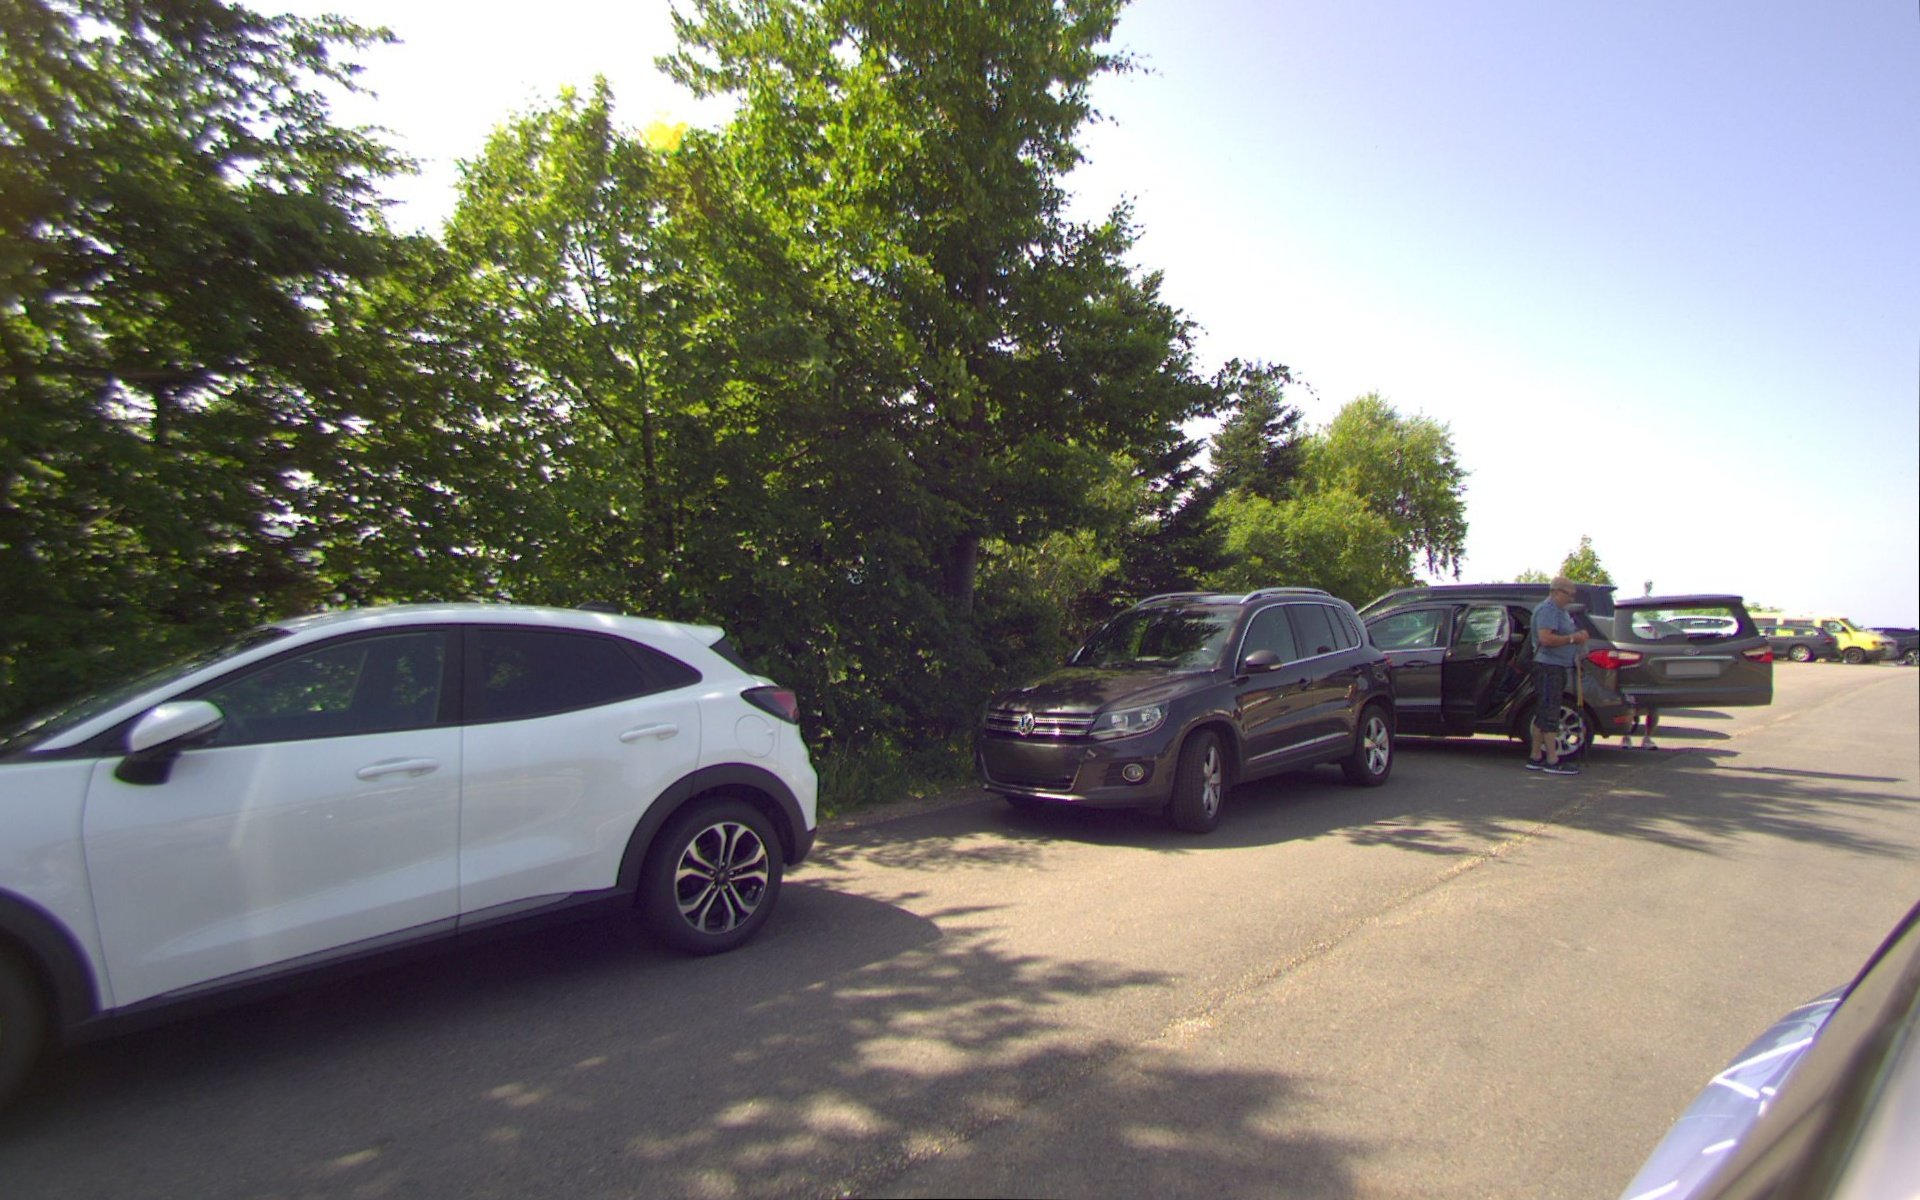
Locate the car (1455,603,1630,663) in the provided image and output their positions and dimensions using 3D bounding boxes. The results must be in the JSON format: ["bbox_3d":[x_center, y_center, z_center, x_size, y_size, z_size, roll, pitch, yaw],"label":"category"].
[{"bbox_3d":[16.457,0.903,28.794,3.943,1.569,1.811,1,-1,16],"label":"car"}]

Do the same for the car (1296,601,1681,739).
[{"bbox_3d":[6.261,0.770,12.520,3.951,1.461,1.827,0,-1,21],"label":"car"}]

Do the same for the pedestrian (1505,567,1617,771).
[{"bbox_3d":[5.440,0.609,9.186,0.620,1.783,0.581,0,-1,-7],"label":"pedestrian"}]

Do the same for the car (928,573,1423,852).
[{"bbox_3d":[1.912,0.694,8.092,4.236,1.653,1.745,0,-2,-43],"label":"car"}]

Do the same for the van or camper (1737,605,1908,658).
[{"bbox_3d":[35.456,1.268,41.747,1.847,2.040,5.103,3,-2,-37],"label":"van or camper"}]

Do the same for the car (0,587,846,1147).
[{"bbox_3d":[-2.560,0.755,4.065,3.983,1.537,1.680,0,-2,-44],"label":"car"}]

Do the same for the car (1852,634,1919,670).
[{"bbox_3d":[44.586,2.493,47.466,3.981,1.529,1.816,3,-1,39],"label":"car"}]

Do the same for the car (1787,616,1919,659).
[{"bbox_3d":[38.153,1.586,43.184,1.673,1.609,4.161,3,-1,-38],"label":"car"}]

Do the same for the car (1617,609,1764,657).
[{"bbox_3d":[26.828,1.179,37.337,4.147,1.671,1.872,0,-1,29],"label":"car"}]

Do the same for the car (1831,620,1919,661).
[{"bbox_3d":[40.768,1.792,44.261,3.987,1.634,1.886,2,-1,43],"label":"car"}]

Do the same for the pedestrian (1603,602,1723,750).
[{"bbox_3d":[7.325,0.773,10.560,0.656,1.420,0.776,4,1,-36],"label":"pedestrian"}]

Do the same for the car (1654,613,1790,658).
[{"bbox_3d":[29.290,1.325,39.040,4.075,1.519,1.918,2,0,37],"label":"car"}]

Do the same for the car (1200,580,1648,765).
[{"bbox_3d":[4.732,0.732,10.877,3.951,1.683,1.986,-2,-1,21],"label":"car"}]

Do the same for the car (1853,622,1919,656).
[{"bbox_3d":[47.343,1.971,50.315,4.395,1.588,1.878,1,-2,43],"label":"car"}]

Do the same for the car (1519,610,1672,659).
[{"bbox_3d":[21.059,1.118,33.730,4.001,1.480,1.882,0,-1,20],"label":"car"}]

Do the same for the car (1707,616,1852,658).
[{"bbox_3d":[32.668,1.454,40.442,1.782,1.507,4.353,4,-3,-44],"label":"car"}]

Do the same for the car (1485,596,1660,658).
[{"bbox_3d":[18.735,0.807,31.131,4.160,1.716,1.857,1,-1,11],"label":"car"}]

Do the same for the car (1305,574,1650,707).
[{"bbox_3d":[8.250,0.583,16.472,4.731,1.904,1.946,0,-1,30],"label":"car"}]

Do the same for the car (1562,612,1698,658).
[{"bbox_3d":[23.481,1.202,35.638,3.768,1.478,1.647,0,-1,26],"label":"car"}]
